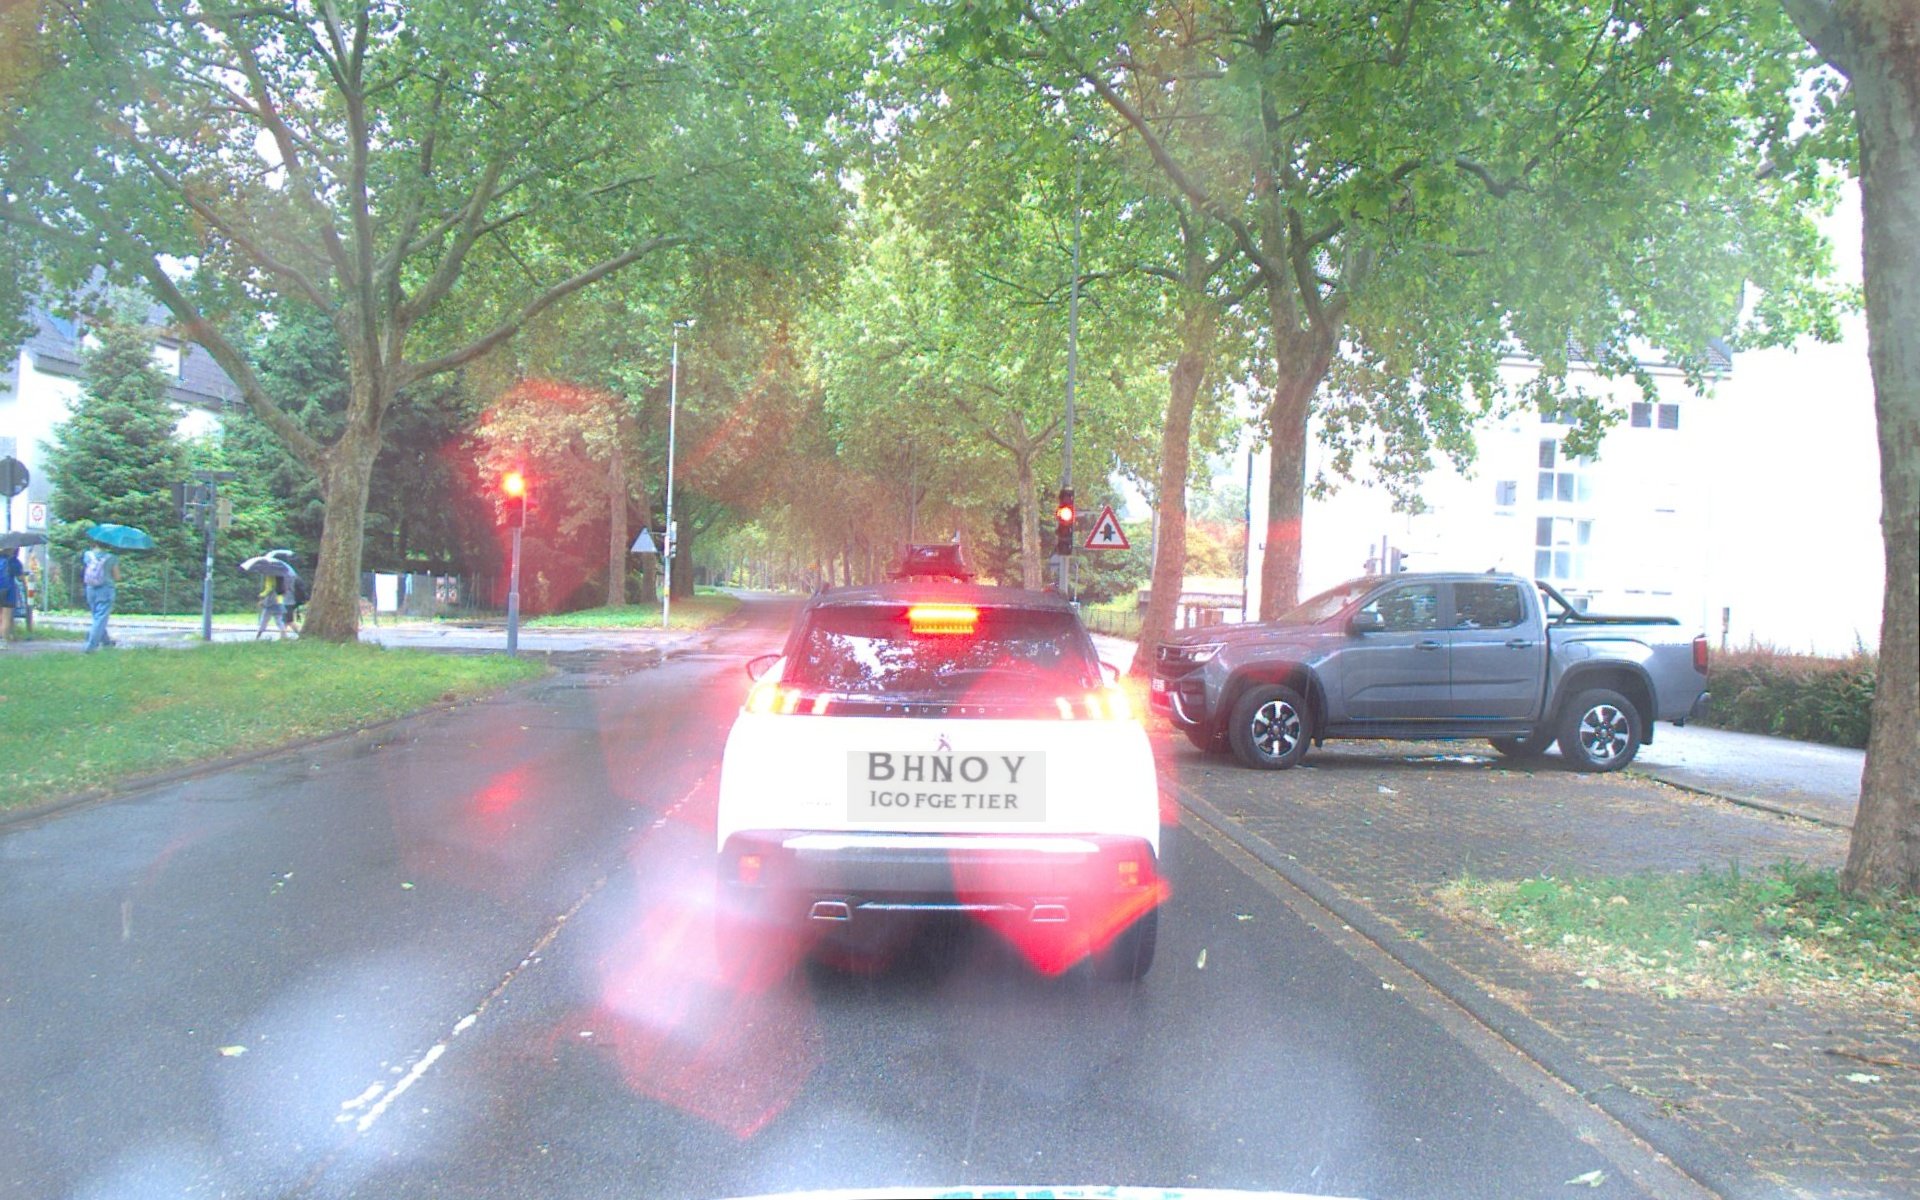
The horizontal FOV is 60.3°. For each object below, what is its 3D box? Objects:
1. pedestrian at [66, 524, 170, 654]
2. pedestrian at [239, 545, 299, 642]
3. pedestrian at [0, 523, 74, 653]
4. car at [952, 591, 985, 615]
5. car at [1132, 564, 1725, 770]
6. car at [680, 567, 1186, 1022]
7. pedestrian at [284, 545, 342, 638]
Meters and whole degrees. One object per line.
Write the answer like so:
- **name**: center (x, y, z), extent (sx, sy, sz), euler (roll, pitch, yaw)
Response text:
- **pedestrian**: center (-11.969, -0.155, 23.532), extent (1.012, 1.796, 0.838), euler (1, 0, -1)
- **pedestrian**: center (-12.959, -0.120, 31.032), extent (0.804, 1.775, 0.639), euler (2, 0, -4)
- **pedestrian**: center (-13.304, -0.172, 23.421), extent (1.012, 1.796, 0.879), euler (1, 0, -1)
- **car**: center (0.534, 0.168, 111.827), extent (1.868, 1.536, 3.927), euler (2, 0, -5)
- **car**: center (4.443, 0.619, 16.034), extent (5.238, 1.838, 1.842), euler (1, 0, -8)
- **car**: center (-0.134, 0.668, 7.843), extent (1.744, 1.563, 4.056), euler (1, 0, -1)
- **pedestrian**: center (-12.671, -0.168, 32.411), extent (0.842, 1.775, 0.639), euler (2, 0, -4)
